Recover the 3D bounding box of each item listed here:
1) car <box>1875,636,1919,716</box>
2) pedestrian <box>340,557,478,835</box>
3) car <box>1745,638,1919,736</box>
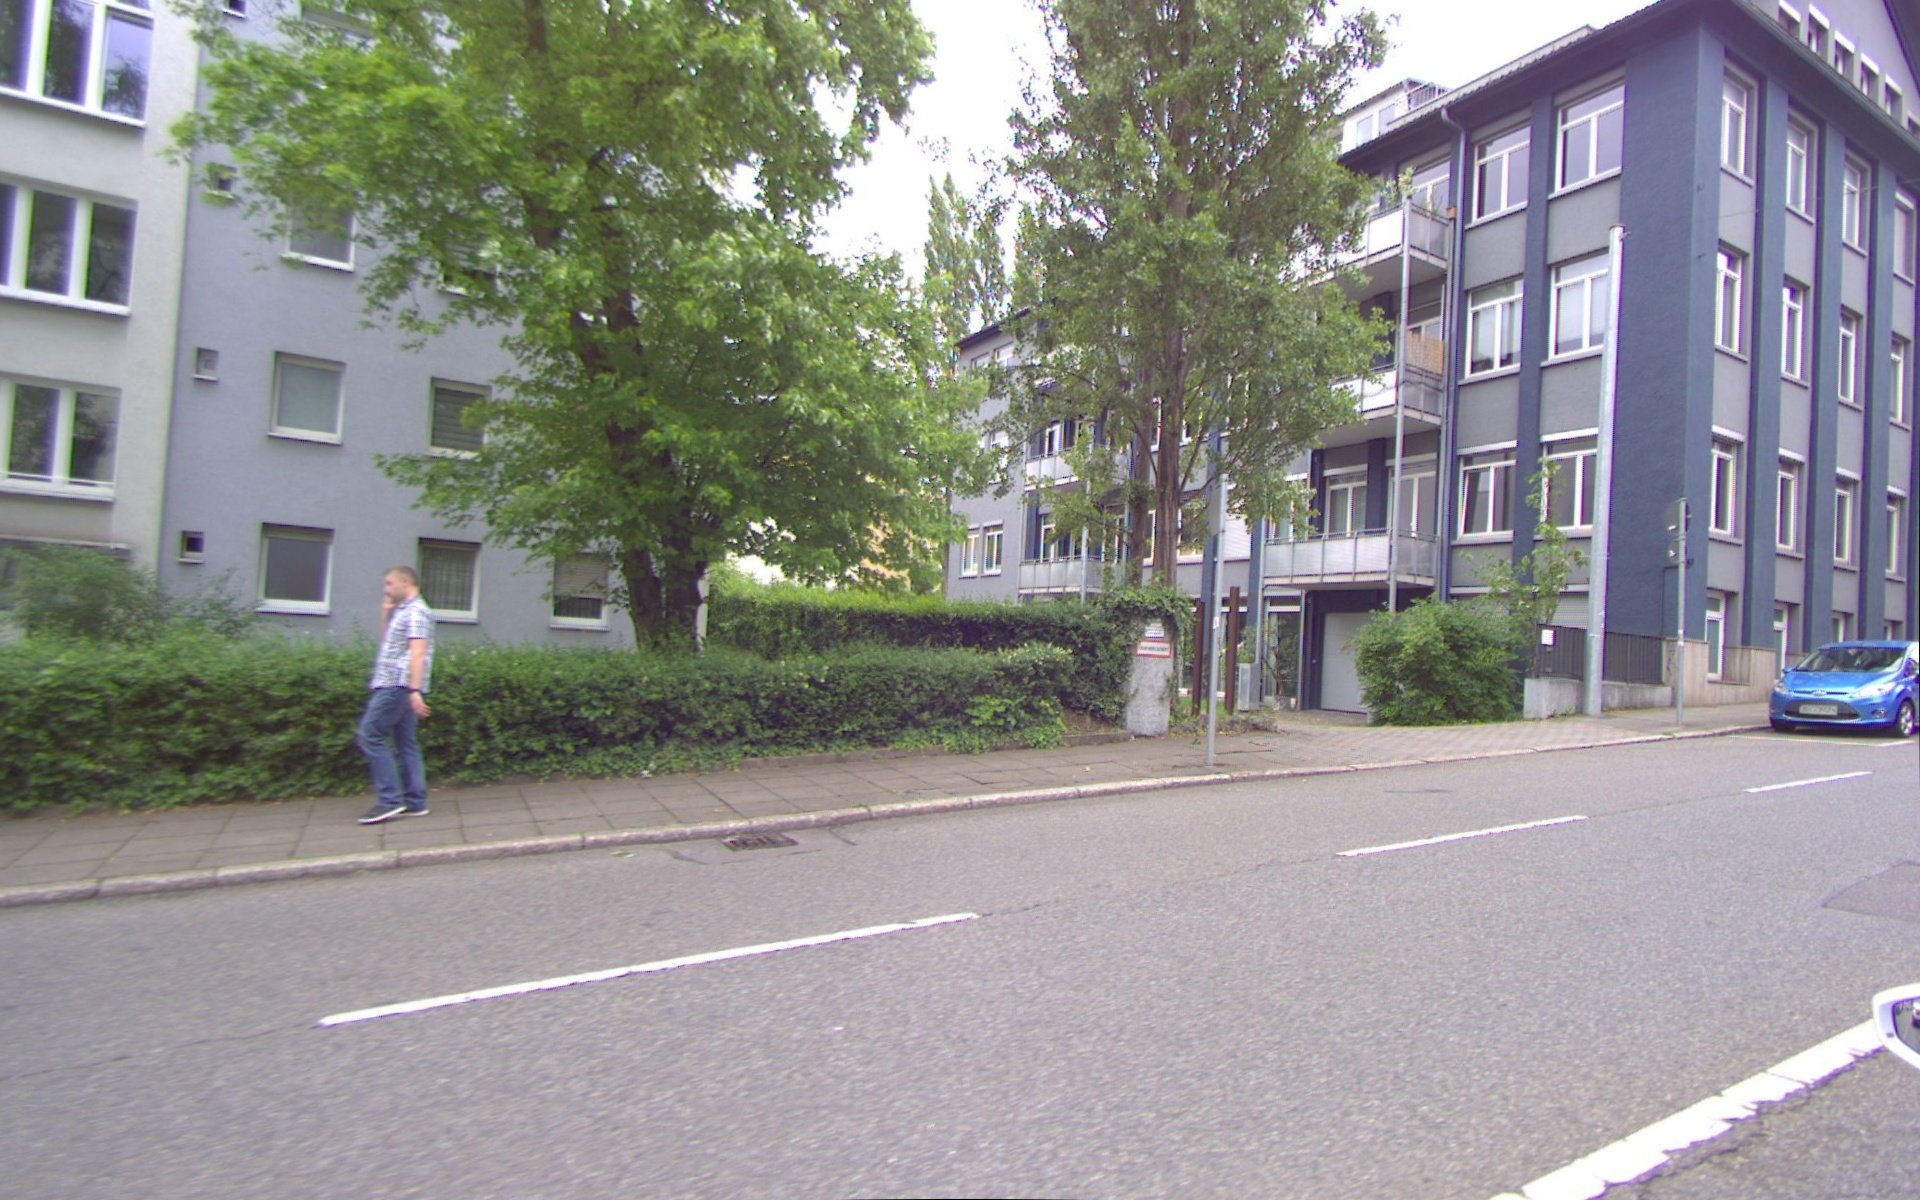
[{"bbox_3d":[19.568,1.432,19.318,3.940,1.475,1.707,1,-3,-29],"label":"car"},{"bbox_3d":[-4.220,0.677,7.708,0.857,1.976,0.878,1,1,-30],"label":"pedestrian"},{"bbox_3d":[14.885,1.361,16.562,3.942,1.442,1.706,1,-3,-30],"label":"car"}]
